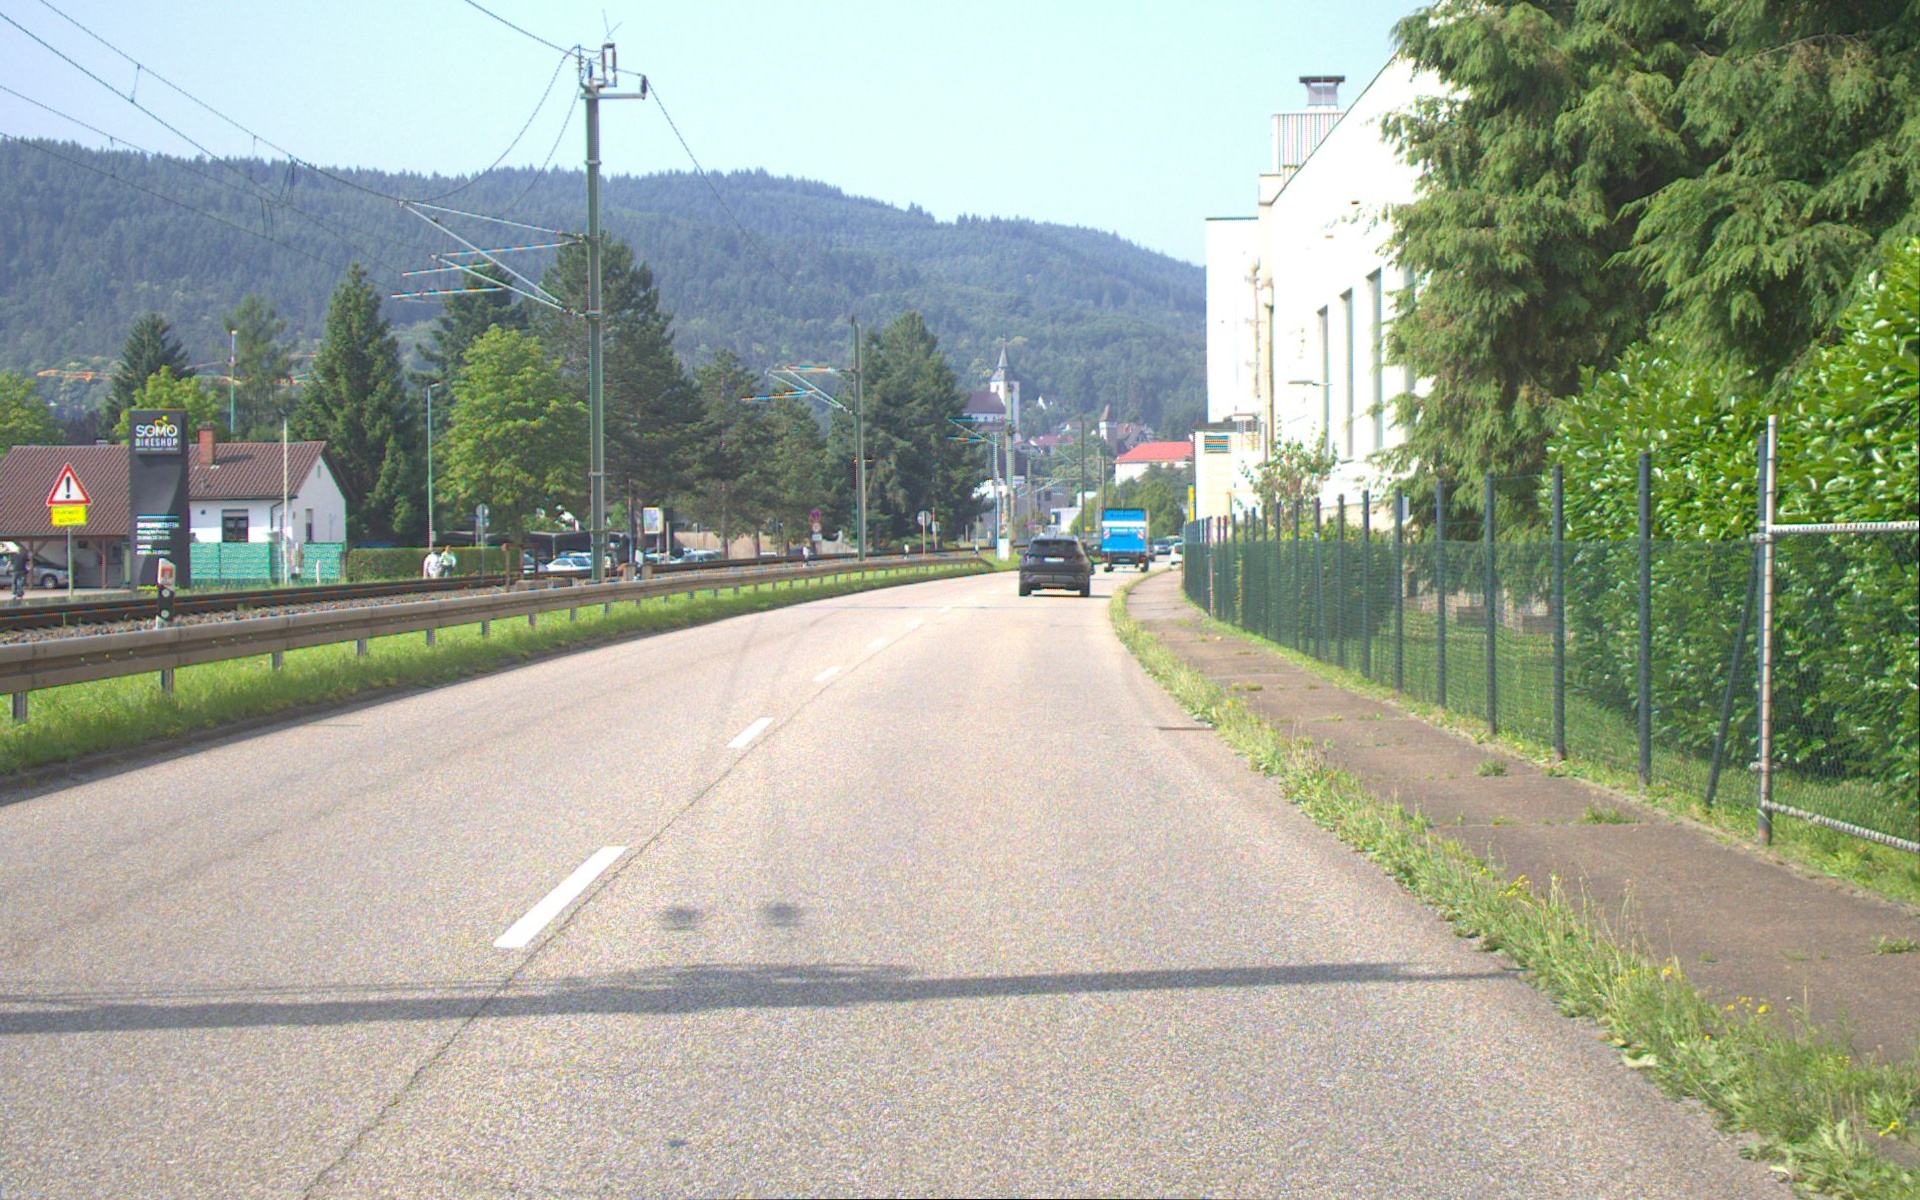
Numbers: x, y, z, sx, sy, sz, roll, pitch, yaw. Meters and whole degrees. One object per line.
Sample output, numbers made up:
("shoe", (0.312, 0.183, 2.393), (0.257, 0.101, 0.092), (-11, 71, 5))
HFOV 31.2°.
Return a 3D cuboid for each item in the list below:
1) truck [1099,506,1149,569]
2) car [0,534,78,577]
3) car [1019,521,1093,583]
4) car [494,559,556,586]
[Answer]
("truck", (7.956, -3.033, 166.201), (2.313, 2.960, 5.965), (0, 1, 4))
("car", (-36.960, -1.753, 135.658), (3.836, 1.645, 1.712), (-1, 1, 5))
("car", (2.613, -1.311, 92.941), (1.919, 1.634, 4.000), (0, 1, 3))
("car", (-24.346, -1.540, 192.346), (1.683, 1.438, 3.852), (-1, 1, -38))
